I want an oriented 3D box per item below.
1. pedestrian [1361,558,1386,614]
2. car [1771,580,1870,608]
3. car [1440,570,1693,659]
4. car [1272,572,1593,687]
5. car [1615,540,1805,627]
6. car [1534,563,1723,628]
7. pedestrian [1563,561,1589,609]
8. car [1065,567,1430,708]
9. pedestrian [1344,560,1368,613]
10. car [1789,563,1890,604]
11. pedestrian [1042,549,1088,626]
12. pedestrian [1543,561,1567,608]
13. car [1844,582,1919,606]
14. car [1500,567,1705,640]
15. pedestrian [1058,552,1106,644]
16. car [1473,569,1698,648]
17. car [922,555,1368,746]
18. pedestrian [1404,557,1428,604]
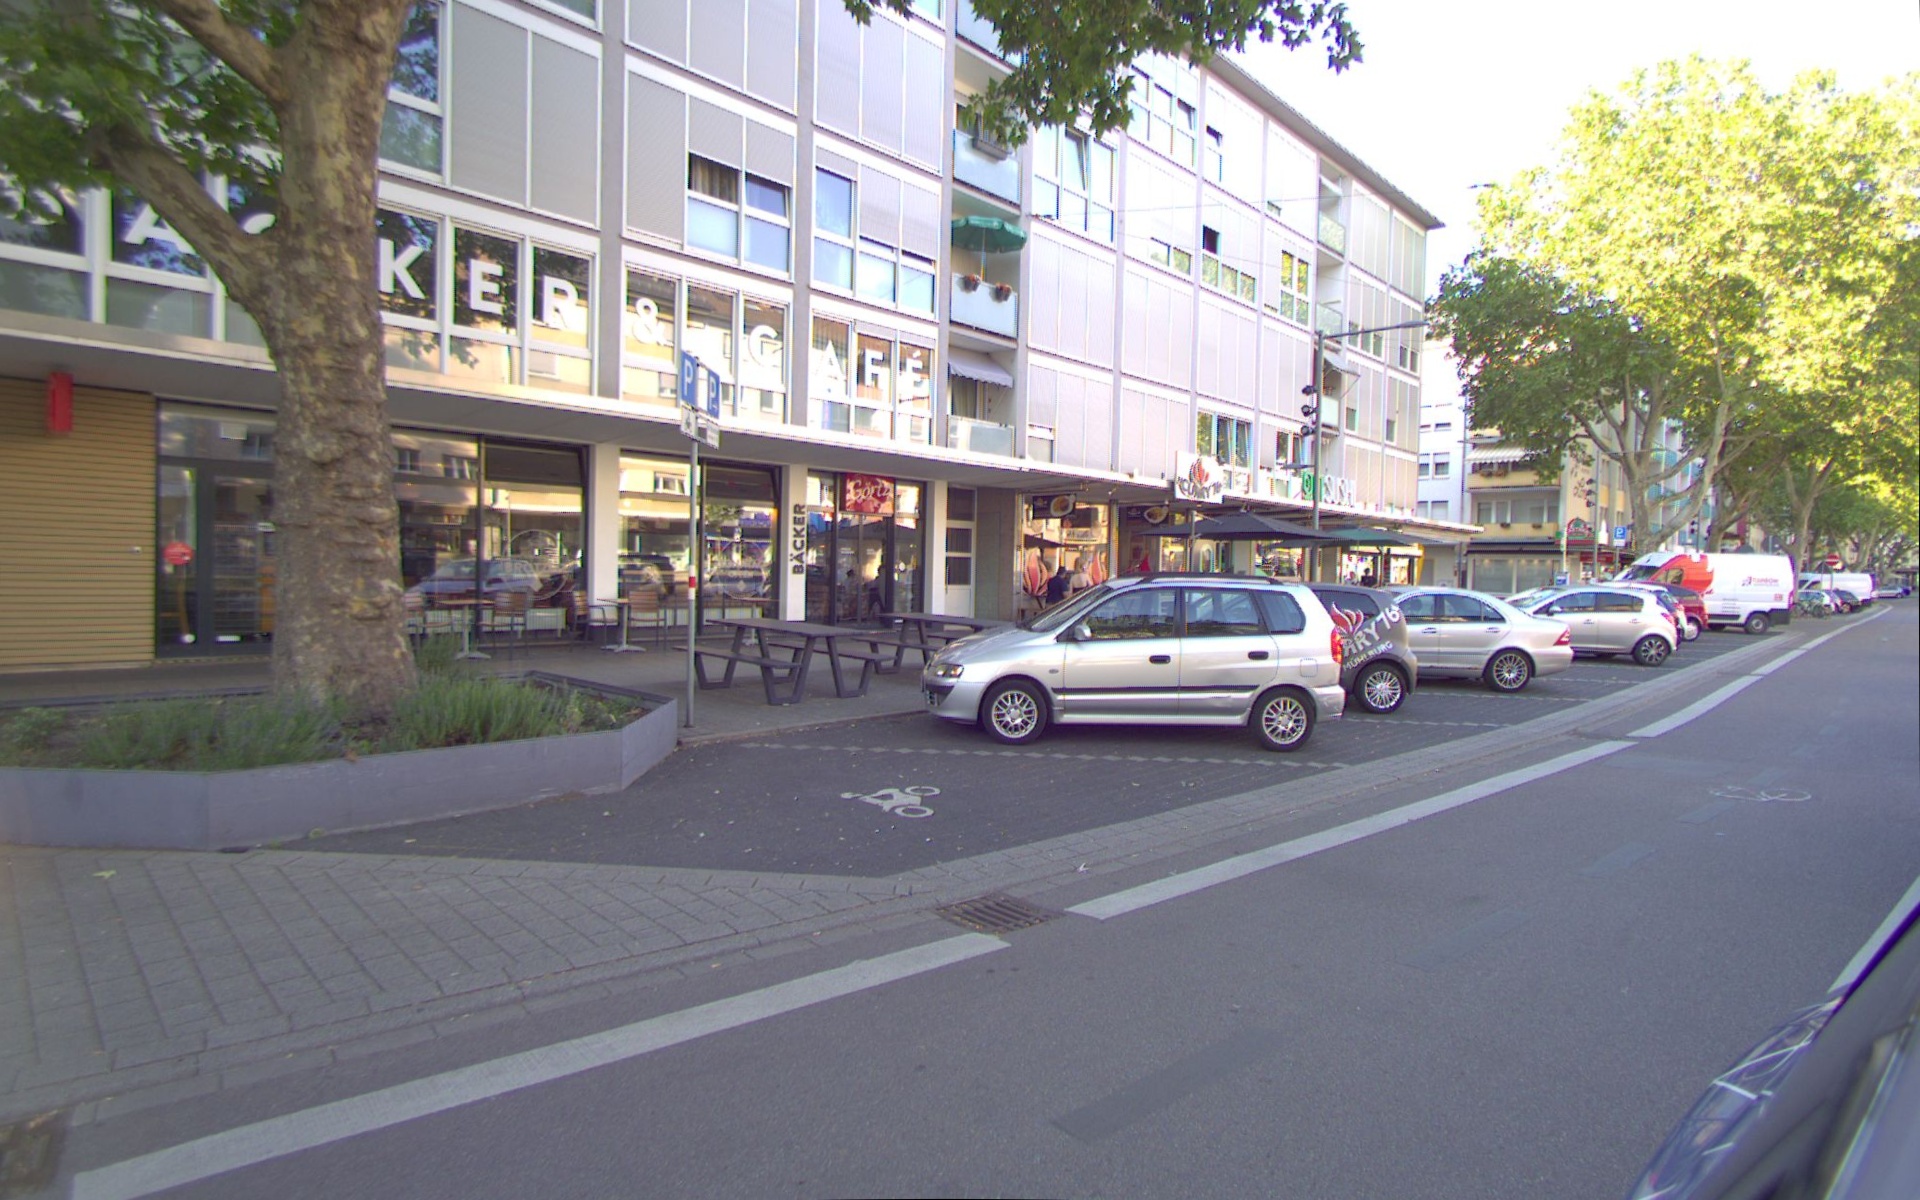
[{"bbox_3d":[12.934,-0.441,31.658,0.544,1.741,0.450,2,2,45],"label":"pedestrian"},{"bbox_3d":[48.023,-0.357,56.550,3.864,1.422,1.782,1,2,3],"label":"car"},{"bbox_3d":[11.757,0.238,19.816,3.871,1.446,1.559,3,3,4],"label":"car"},{"bbox_3d":[6.790,0.383,14.833,3.867,1.418,1.598,2,3,1],"label":"car"},{"bbox_3d":[23.649,-0.534,32.043,4.514,2.525,1.675,2,1,5],"label":"car"},{"bbox_3d":[18.104,-0.169,27.628,3.890,1.445,1.668,4,5,18],"label":"car"},{"bbox_3d":[26.228,-0.640,43.120,0.746,2.038,0.752,2,2,45],"label":"pedestrian"},{"bbox_3d":[3.359,0.404,12.305,3.864,1.446,1.679,2,3,-3],"label":"car"},{"bbox_3d":[12.526,-0.432,32.042,0.536,1.660,0.470,2,2,45],"label":"pedestrian"},{"bbox_3d":[56.548,-1.082,65.118,4.512,2.499,1.977,1,2,3],"label":"car"},{"bbox_3d":[2.215,-0.279,21.421,0.757,1.602,0.583,0,2,-39],"label":"pedestrian"},{"bbox_3d":[25.732,-0.665,43.749,0.746,2.000,0.566,2,2,45],"label":"pedestrian"},{"bbox_3d":[56.446,-0.381,61.448,3.864,1.350,1.782,1,2,3],"label":"car"},{"bbox_3d":[15.886,0.040,25.237,3.888,1.445,1.669,4,5,17],"label":"car"},{"bbox_3d":[2.158,-0.050,17.903,0.559,1.596,0.632,2,2,44],"label":"pedestrian"},{"bbox_3d":[13.944,0.144,22.807,3.886,1.446,1.670,3,3,16],"label":"car"},{"bbox_3d":[1.622,0.426,9.822,3.906,1.560,1.679,2,3,-3],"label":"car"},{"bbox_3d":[19.744,-0.845,43.843,0.746,2.038,0.550,2,2,45],"label":"pedestrian"}]
